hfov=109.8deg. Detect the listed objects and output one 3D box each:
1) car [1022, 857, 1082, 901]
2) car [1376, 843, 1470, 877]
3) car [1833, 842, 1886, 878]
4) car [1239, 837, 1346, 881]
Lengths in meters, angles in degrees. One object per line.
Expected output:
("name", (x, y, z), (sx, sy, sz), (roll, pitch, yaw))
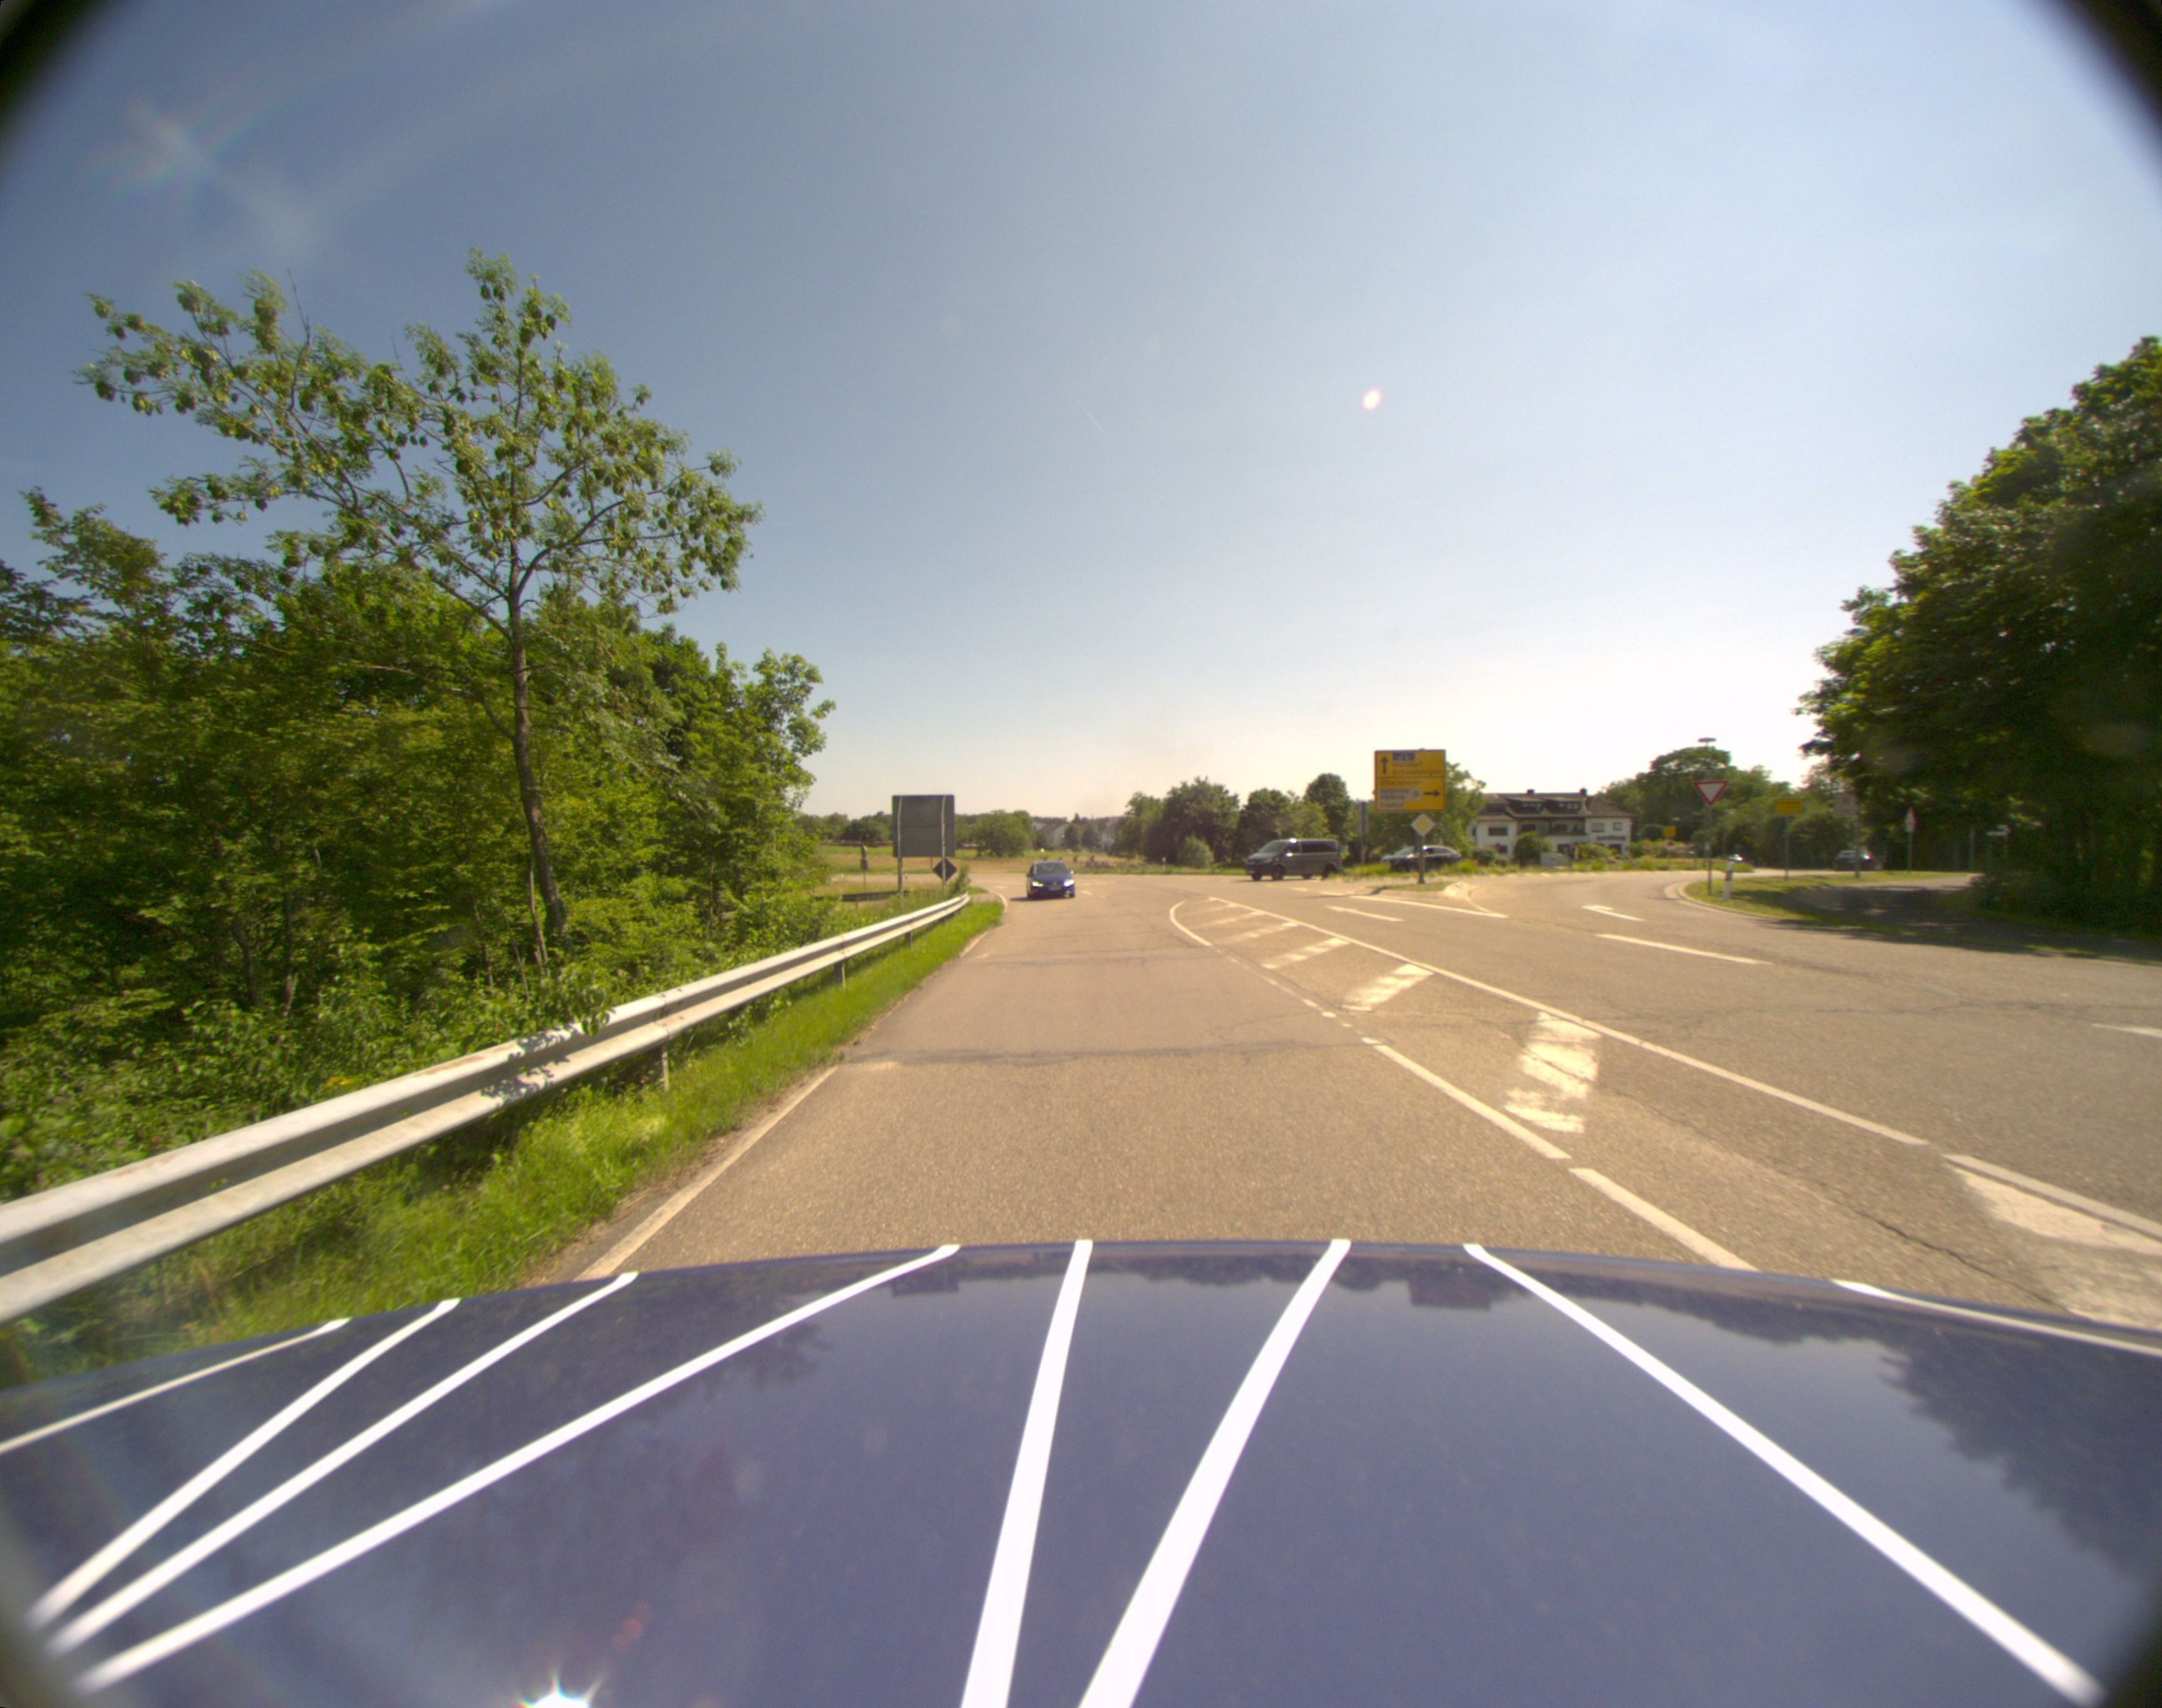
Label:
("car", (-1.296, 0.977, 32.081), (1.830, 1.592, 4.191), (-4, 1, -10))
("car", (17.758, 0.307, 39.494), (4.379, 1.636, 1.746), (-1, 0, -18))
("car", (48.971, 0.343, 47.765), (4.007, 2.002, 1.995), (-3, 1, -40))
("car", (10.319, 0.214, 37.057), (4.770, 2.002, 1.996), (-1, 0, -22))
